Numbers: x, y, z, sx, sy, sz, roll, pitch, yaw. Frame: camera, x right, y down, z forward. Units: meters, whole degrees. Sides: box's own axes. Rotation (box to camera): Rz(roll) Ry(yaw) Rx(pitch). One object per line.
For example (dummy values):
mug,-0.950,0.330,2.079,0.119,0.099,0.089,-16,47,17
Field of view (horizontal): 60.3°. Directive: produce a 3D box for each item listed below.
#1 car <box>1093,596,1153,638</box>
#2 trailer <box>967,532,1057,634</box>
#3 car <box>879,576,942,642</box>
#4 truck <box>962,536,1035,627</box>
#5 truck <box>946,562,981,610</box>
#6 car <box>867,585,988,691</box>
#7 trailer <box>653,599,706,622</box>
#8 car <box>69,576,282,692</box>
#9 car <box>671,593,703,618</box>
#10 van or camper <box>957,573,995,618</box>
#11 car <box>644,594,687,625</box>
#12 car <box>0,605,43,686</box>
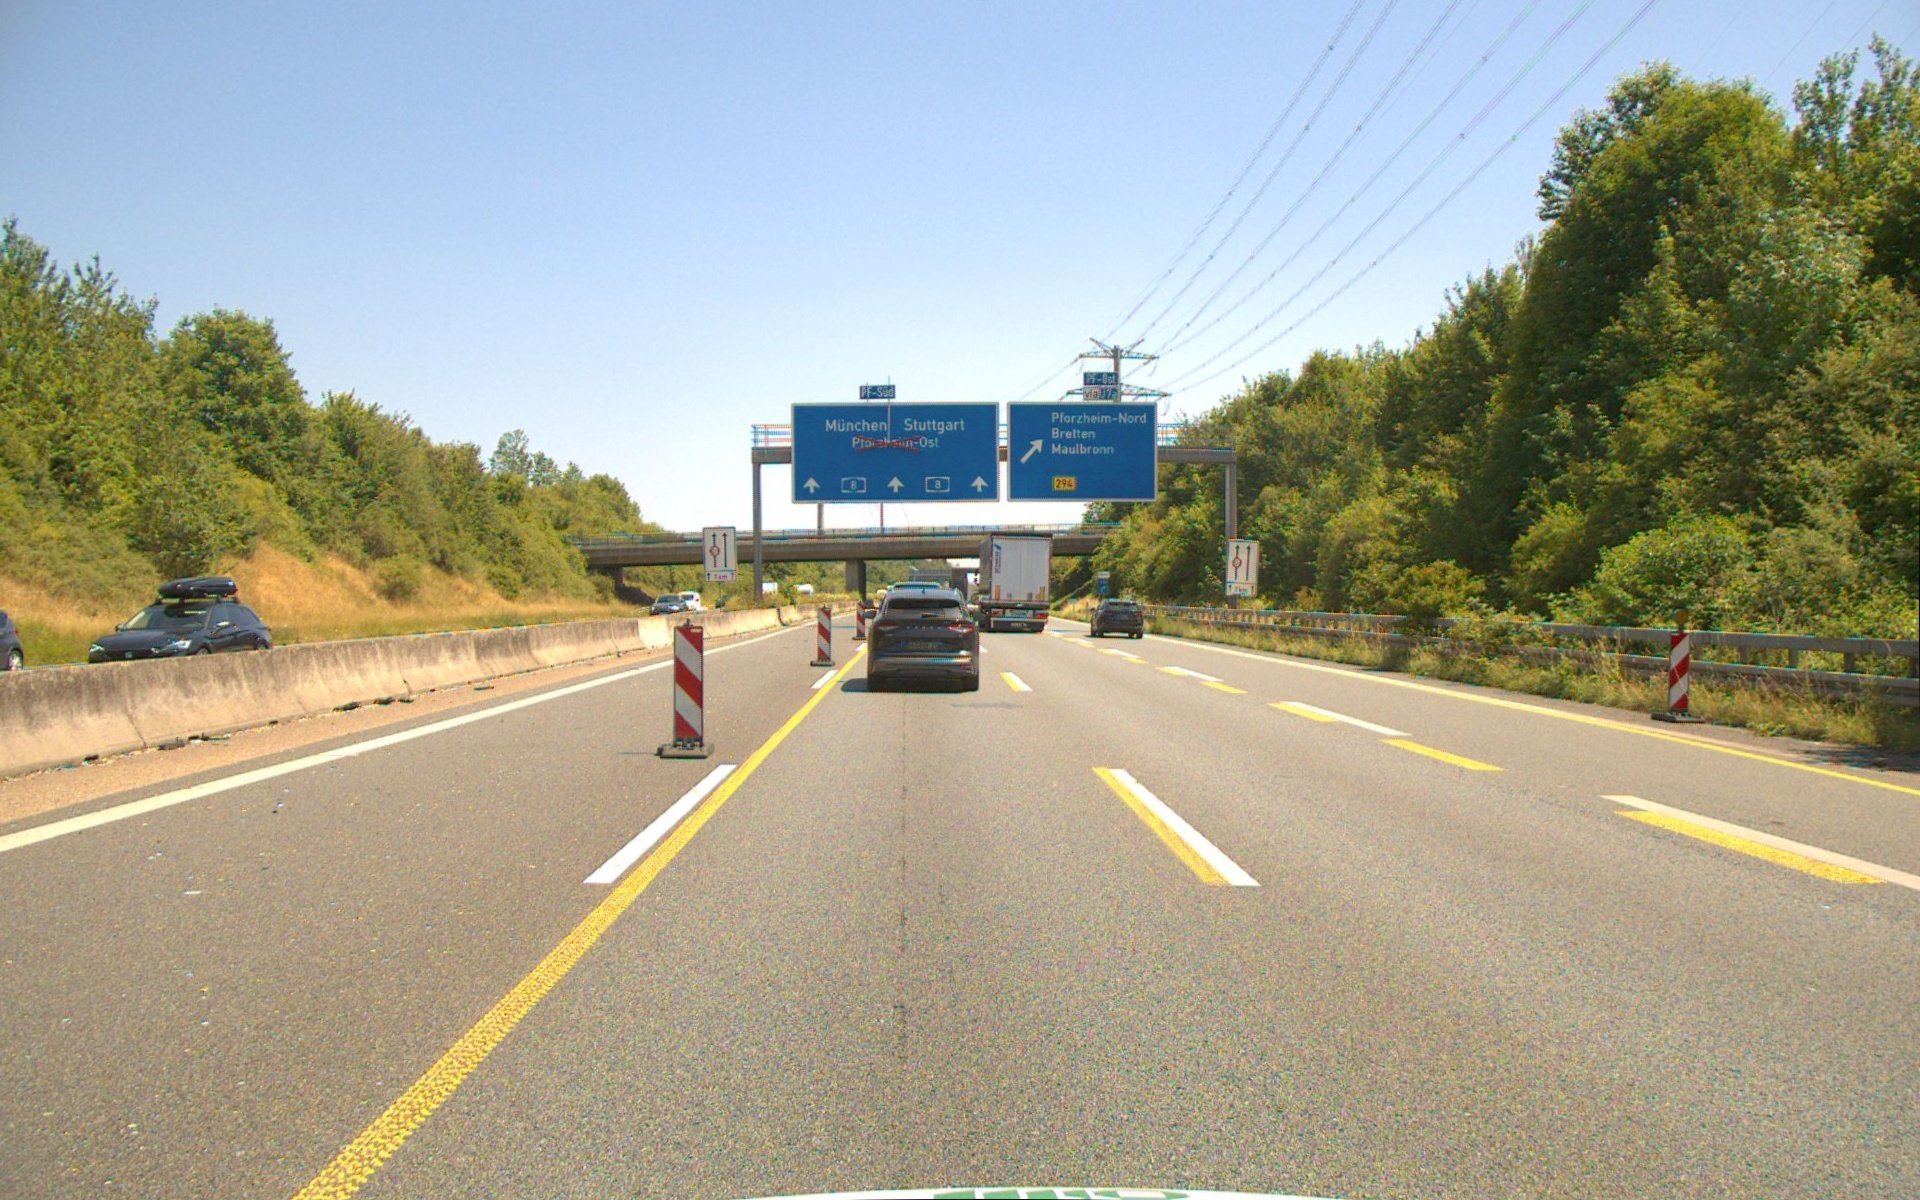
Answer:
car,6.281,0.639,64.255,1.743,1.515,4.462,1,0,-2
trailer,2.125,-0.724,72.762,3.004,4.113,11.481,0,0,-3
car,-1.614,0.240,53.562,1.858,1.873,4.441,3,2,-2
truck,1.793,-0.872,79.776,2.964,4.158,7.791,0,0,-3
truck,0.285,-1.297,153.691,3.015,4.219,13.053,1,0,0
car,-0.585,0.561,27.605,1.857,1.620,4.440,0,1,-2
trailer,-17.803,0.619,105.391,2.308,1.367,7.214,-1,0,-2
car,-13.567,0.539,28.930,1.707,1.850,4.620,-1,0,-3
car,-22.842,0.430,138.644,1.891,2.049,5.594,-1,0,-2
van or camper,1.081,-0.336,117.690,2.534,3.020,6.084,1,0,0
car,-17.671,0.566,99.456,1.875,1.784,4.564,1,0,-2
car,-19.555,0.903,31.975,1.469,1.575,3.999,-1,0,-1
